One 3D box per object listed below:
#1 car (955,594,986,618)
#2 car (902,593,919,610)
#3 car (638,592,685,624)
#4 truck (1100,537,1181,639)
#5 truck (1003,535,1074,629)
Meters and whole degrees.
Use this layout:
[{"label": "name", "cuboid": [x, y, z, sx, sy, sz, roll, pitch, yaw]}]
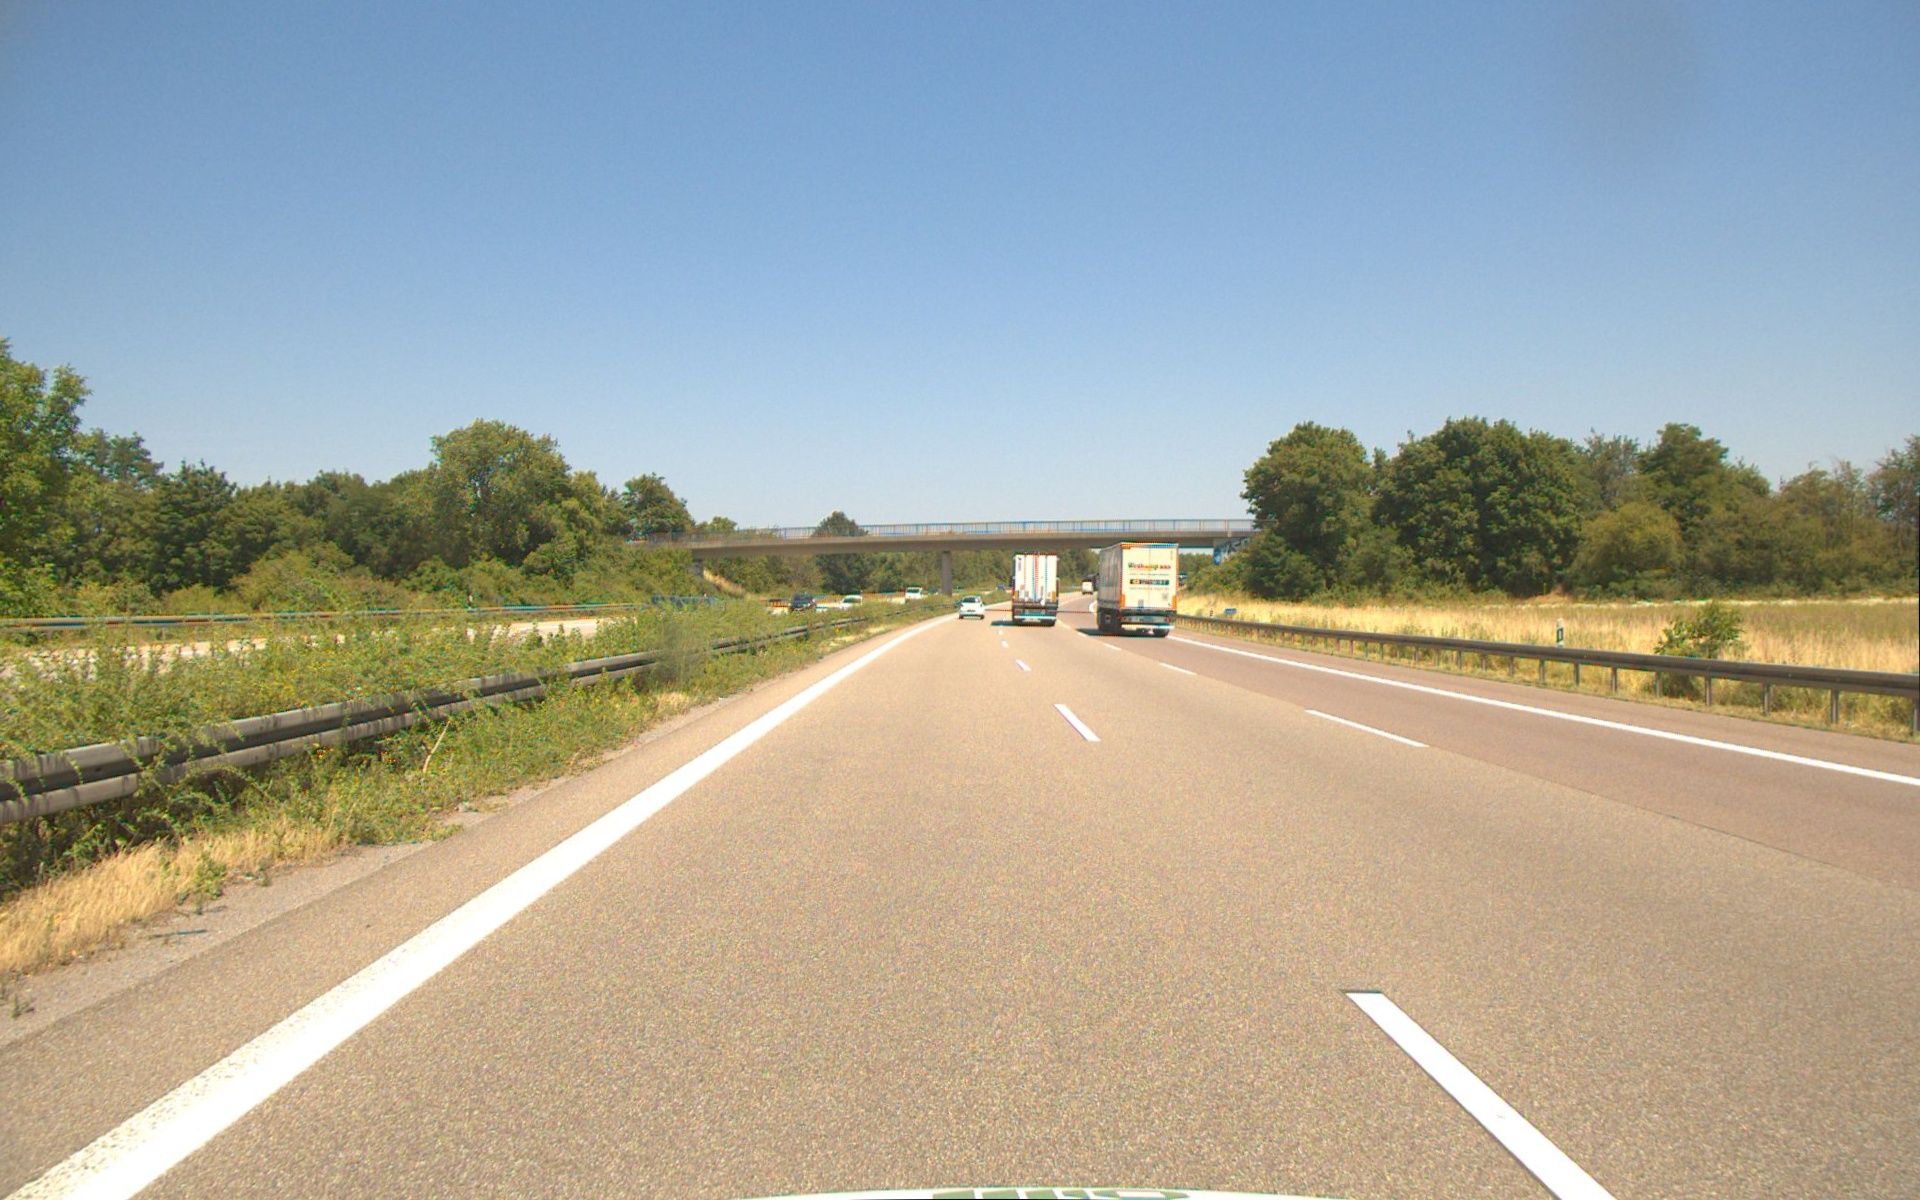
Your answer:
[{"label": "car", "cuboid": [0.724, 0.406, 113.334, 1.789, 1.574, 4.321, 1, 0, 5]}, {"label": "car", "cuboid": [-6.192, 0.169, 207.869, 1.790, 2.049, 5.332, 1, 0, 2]}, {"label": "car", "cuboid": [-16.138, 0.392, 89.503, 1.746, 1.690, 4.657, 0, 0, -1]}, {"label": "truck", "cuboid": [8.470, -0.620, 79.435, 3.114, 4.379, 16.026, 1, 1, 4]}, {"label": "truck", "cuboid": [4.508, -1.095, 98.664, 3.591, 5.106, 16.019, 1, 1, 1]}]
